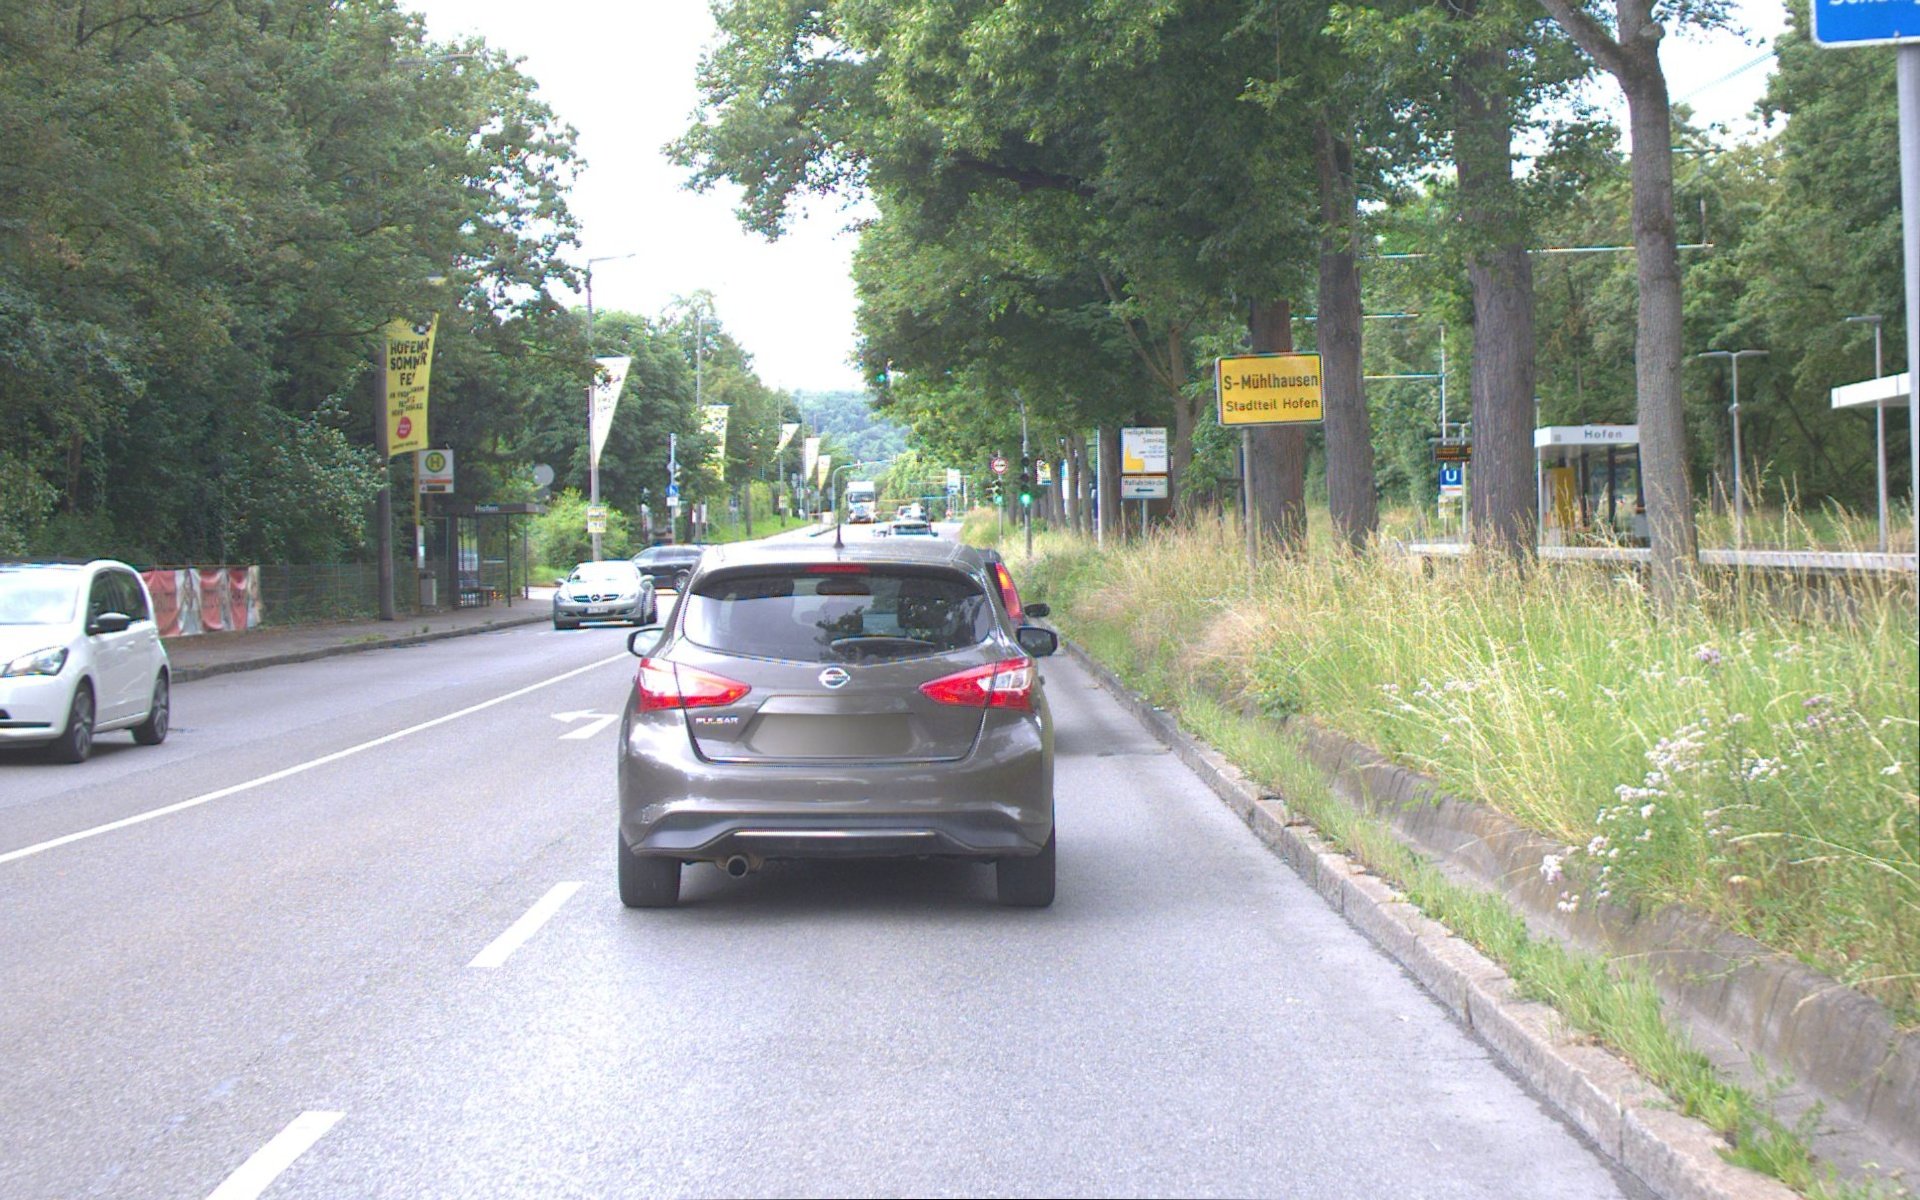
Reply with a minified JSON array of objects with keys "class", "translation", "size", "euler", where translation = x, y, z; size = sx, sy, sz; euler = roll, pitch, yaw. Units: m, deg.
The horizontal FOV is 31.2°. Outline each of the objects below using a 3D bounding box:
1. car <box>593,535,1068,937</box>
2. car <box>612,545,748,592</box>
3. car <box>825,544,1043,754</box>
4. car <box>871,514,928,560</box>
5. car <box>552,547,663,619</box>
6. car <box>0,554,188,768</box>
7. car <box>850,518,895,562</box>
[{"class":"car","translation":[-0.492,0.489,14.911],"size":[1.783,1.501,3.696],"euler":[-1,1,0]},{"class":"car","translation":[-8.304,-0.953,101.850],"size":[3.690,1.332,1.761],"euler":[1,2,30]},{"class":"car","translation":[-0.197,0.313,25.745],"size":[1.502,1.436,3.542],"euler":[-1,1,-1]},{"class":"car","translation":[-2.163,-2.260,123.908],"size":[1.993,1.568,4.000],"euler":[1,0,0]},{"class":"car","translation":[-6.853,-0.349,67.140],"size":[1.758,1.332,3.696],"euler":[-1,1,0]},{"class":"car","translation":[-6.934,0.402,25.450],"size":[1.580,1.461,3.696],"euler":[-1,1,0]},{"class":"car","translation":[-4.205,-2.868,164.676],"size":[1.993,2.007,4.000],"euler":[1,0,-3]}]
